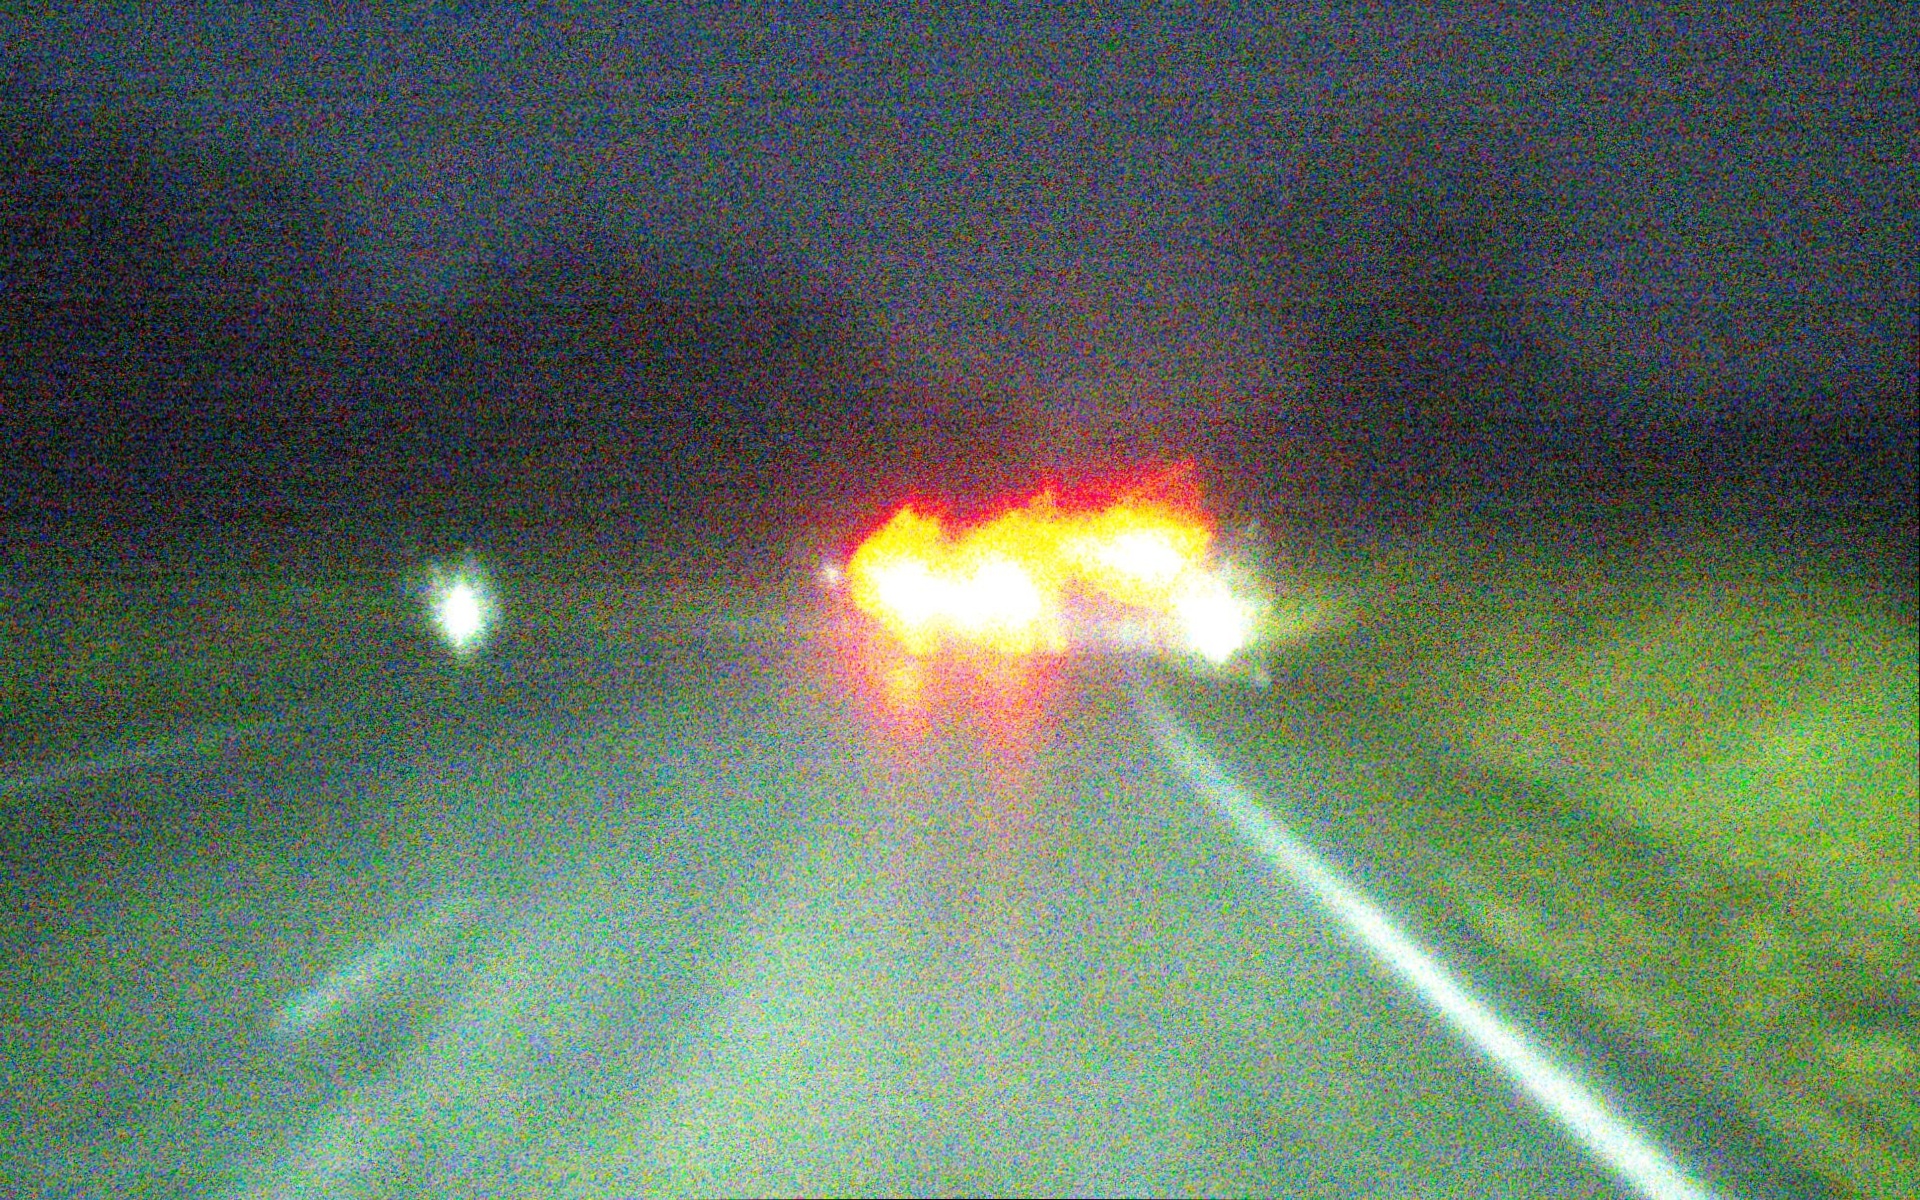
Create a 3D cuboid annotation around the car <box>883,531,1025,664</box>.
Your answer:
[{"bbox_3d":[-0.059,-0.063,46.812,1.842,1.734,4.000,0,1,1],"label":"car"}]
